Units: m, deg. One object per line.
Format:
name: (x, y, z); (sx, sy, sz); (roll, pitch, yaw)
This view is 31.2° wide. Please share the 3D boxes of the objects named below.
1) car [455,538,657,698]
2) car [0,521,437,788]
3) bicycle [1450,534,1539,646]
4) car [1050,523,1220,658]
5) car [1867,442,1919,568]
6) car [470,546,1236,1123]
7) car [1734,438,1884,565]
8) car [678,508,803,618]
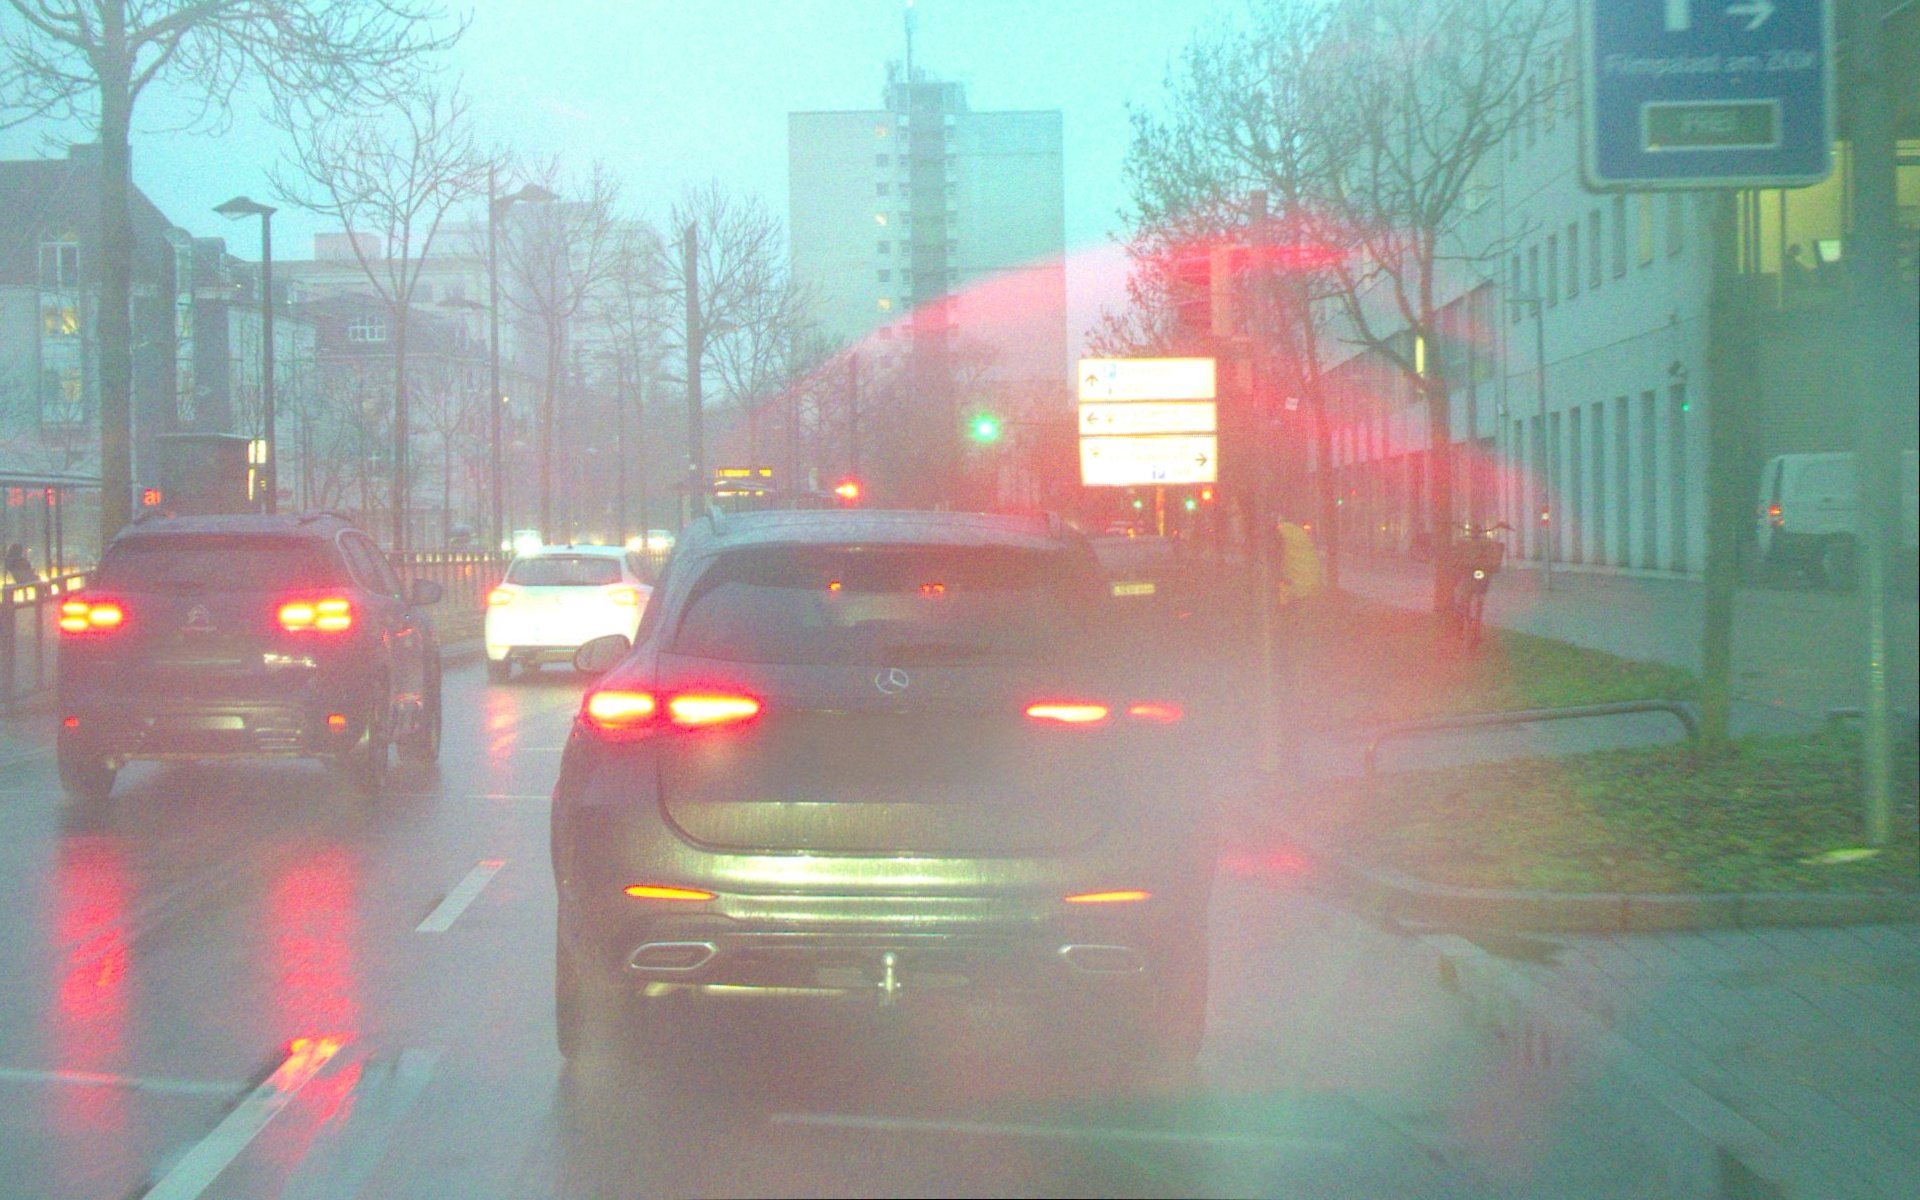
car: (-4.344, 0.157, 37.414); (1.690, 1.629, 3.474); (1, 1, 1)
car: (-4.424, 0.263, 21.099); (1.817, 1.445, 4.000); (1, 1, 0)
bicycle: (4.739, -0.096, 30.537); (0.545, 0.962, 1.346); (1, 1, -1)
car: (2.109, -0.148, 42.238); (1.849, 1.550, 3.432); (1, 1, -1)
car: (14.184, -1.345, 49.551); (1.628, 1.753, 3.421); (1, 1, 6)
car: (-0.244, 0.590, 10.913); (1.993, 1.478, 3.700); (1, 1, 1)
car: (12.242, -1.410, 49.742); (1.628, 1.753, 3.421); (1, 1, 6)
car: (-3.653, -0.622, 57.689); (1.662, 1.753, 3.567); (1, 1, 3)
